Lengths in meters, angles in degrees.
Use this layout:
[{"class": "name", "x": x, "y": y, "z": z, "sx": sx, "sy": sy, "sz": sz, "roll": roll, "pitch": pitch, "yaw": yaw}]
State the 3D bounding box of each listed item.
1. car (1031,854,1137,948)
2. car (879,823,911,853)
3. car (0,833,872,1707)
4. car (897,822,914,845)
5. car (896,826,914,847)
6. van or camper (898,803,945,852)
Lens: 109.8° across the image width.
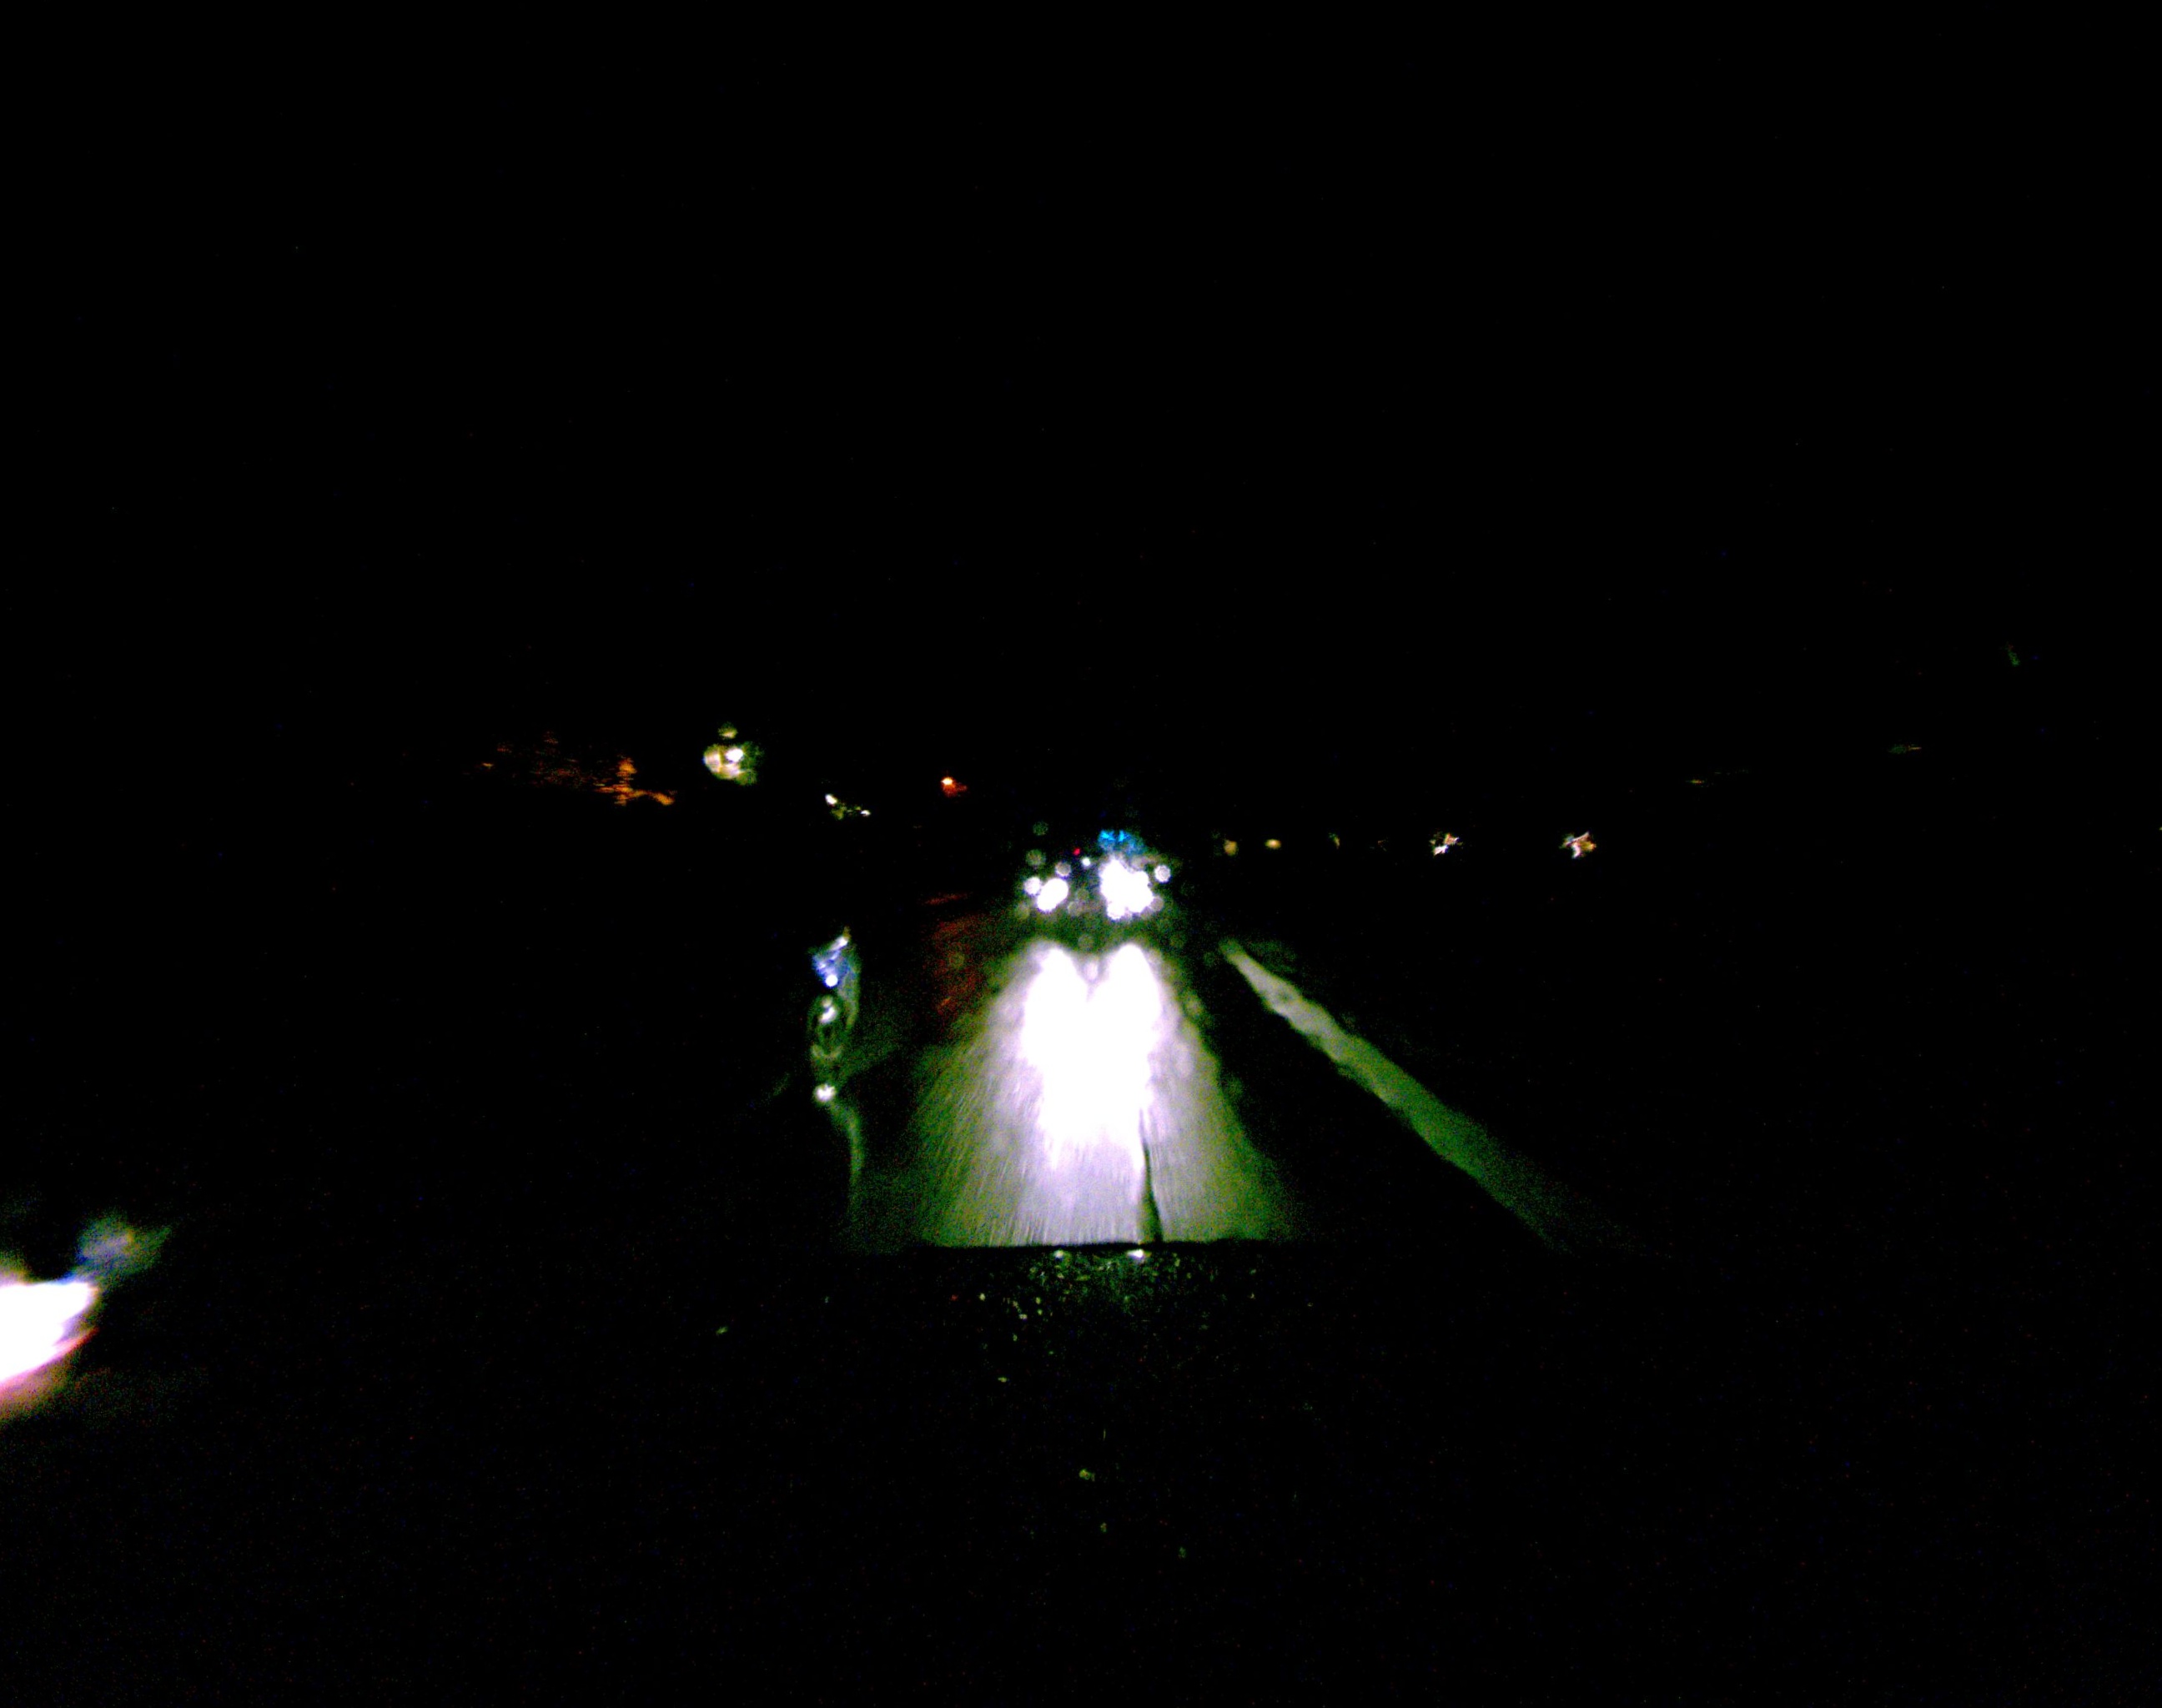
[{"class": "car", "x": 0.211, "y": 0.844, "z": 15.746, "sx": 1.825, "sy": 1.573, "sz": 4.355, "roll": -2, "pitch": 1, "yaw": 4}, {"class": "car", "x": -13.166, "y": -1.124, "z": 54.015, "sx": 2.001, "sy": 2.002, "sz": 3.995, "roll": -2, "pitch": 1, "yaw": -12}, {"class": "car", "x": -2.540, "y": 0.844, "z": 3.146, "sx": 1.839, "sy": 1.725, "sz": 4.941, "roll": -2, "pitch": 1, "yaw": 1}, {"class": "car", "x": -22.014, "y": -2.587, "z": 95.611, "sx": 1.937, "sy": 2.759, "sz": 4.250, "roll": -2, "pitch": 1, "yaw": -12}, {"class": "car", "x": -20.935, "y": -2.051, "z": 90.312, "sx": 1.937, "sy": 2.406, "sz": 4.250, "roll": -2, "pitch": 1, "yaw": -12}, {"class": "van or camper", "x": -10.019, "y": -1.550, "z": 47.326, "sx": 2.416, "sy": 2.777, "sz": 5.765, "roll": -2, "pitch": 1, "yaw": -15}]
